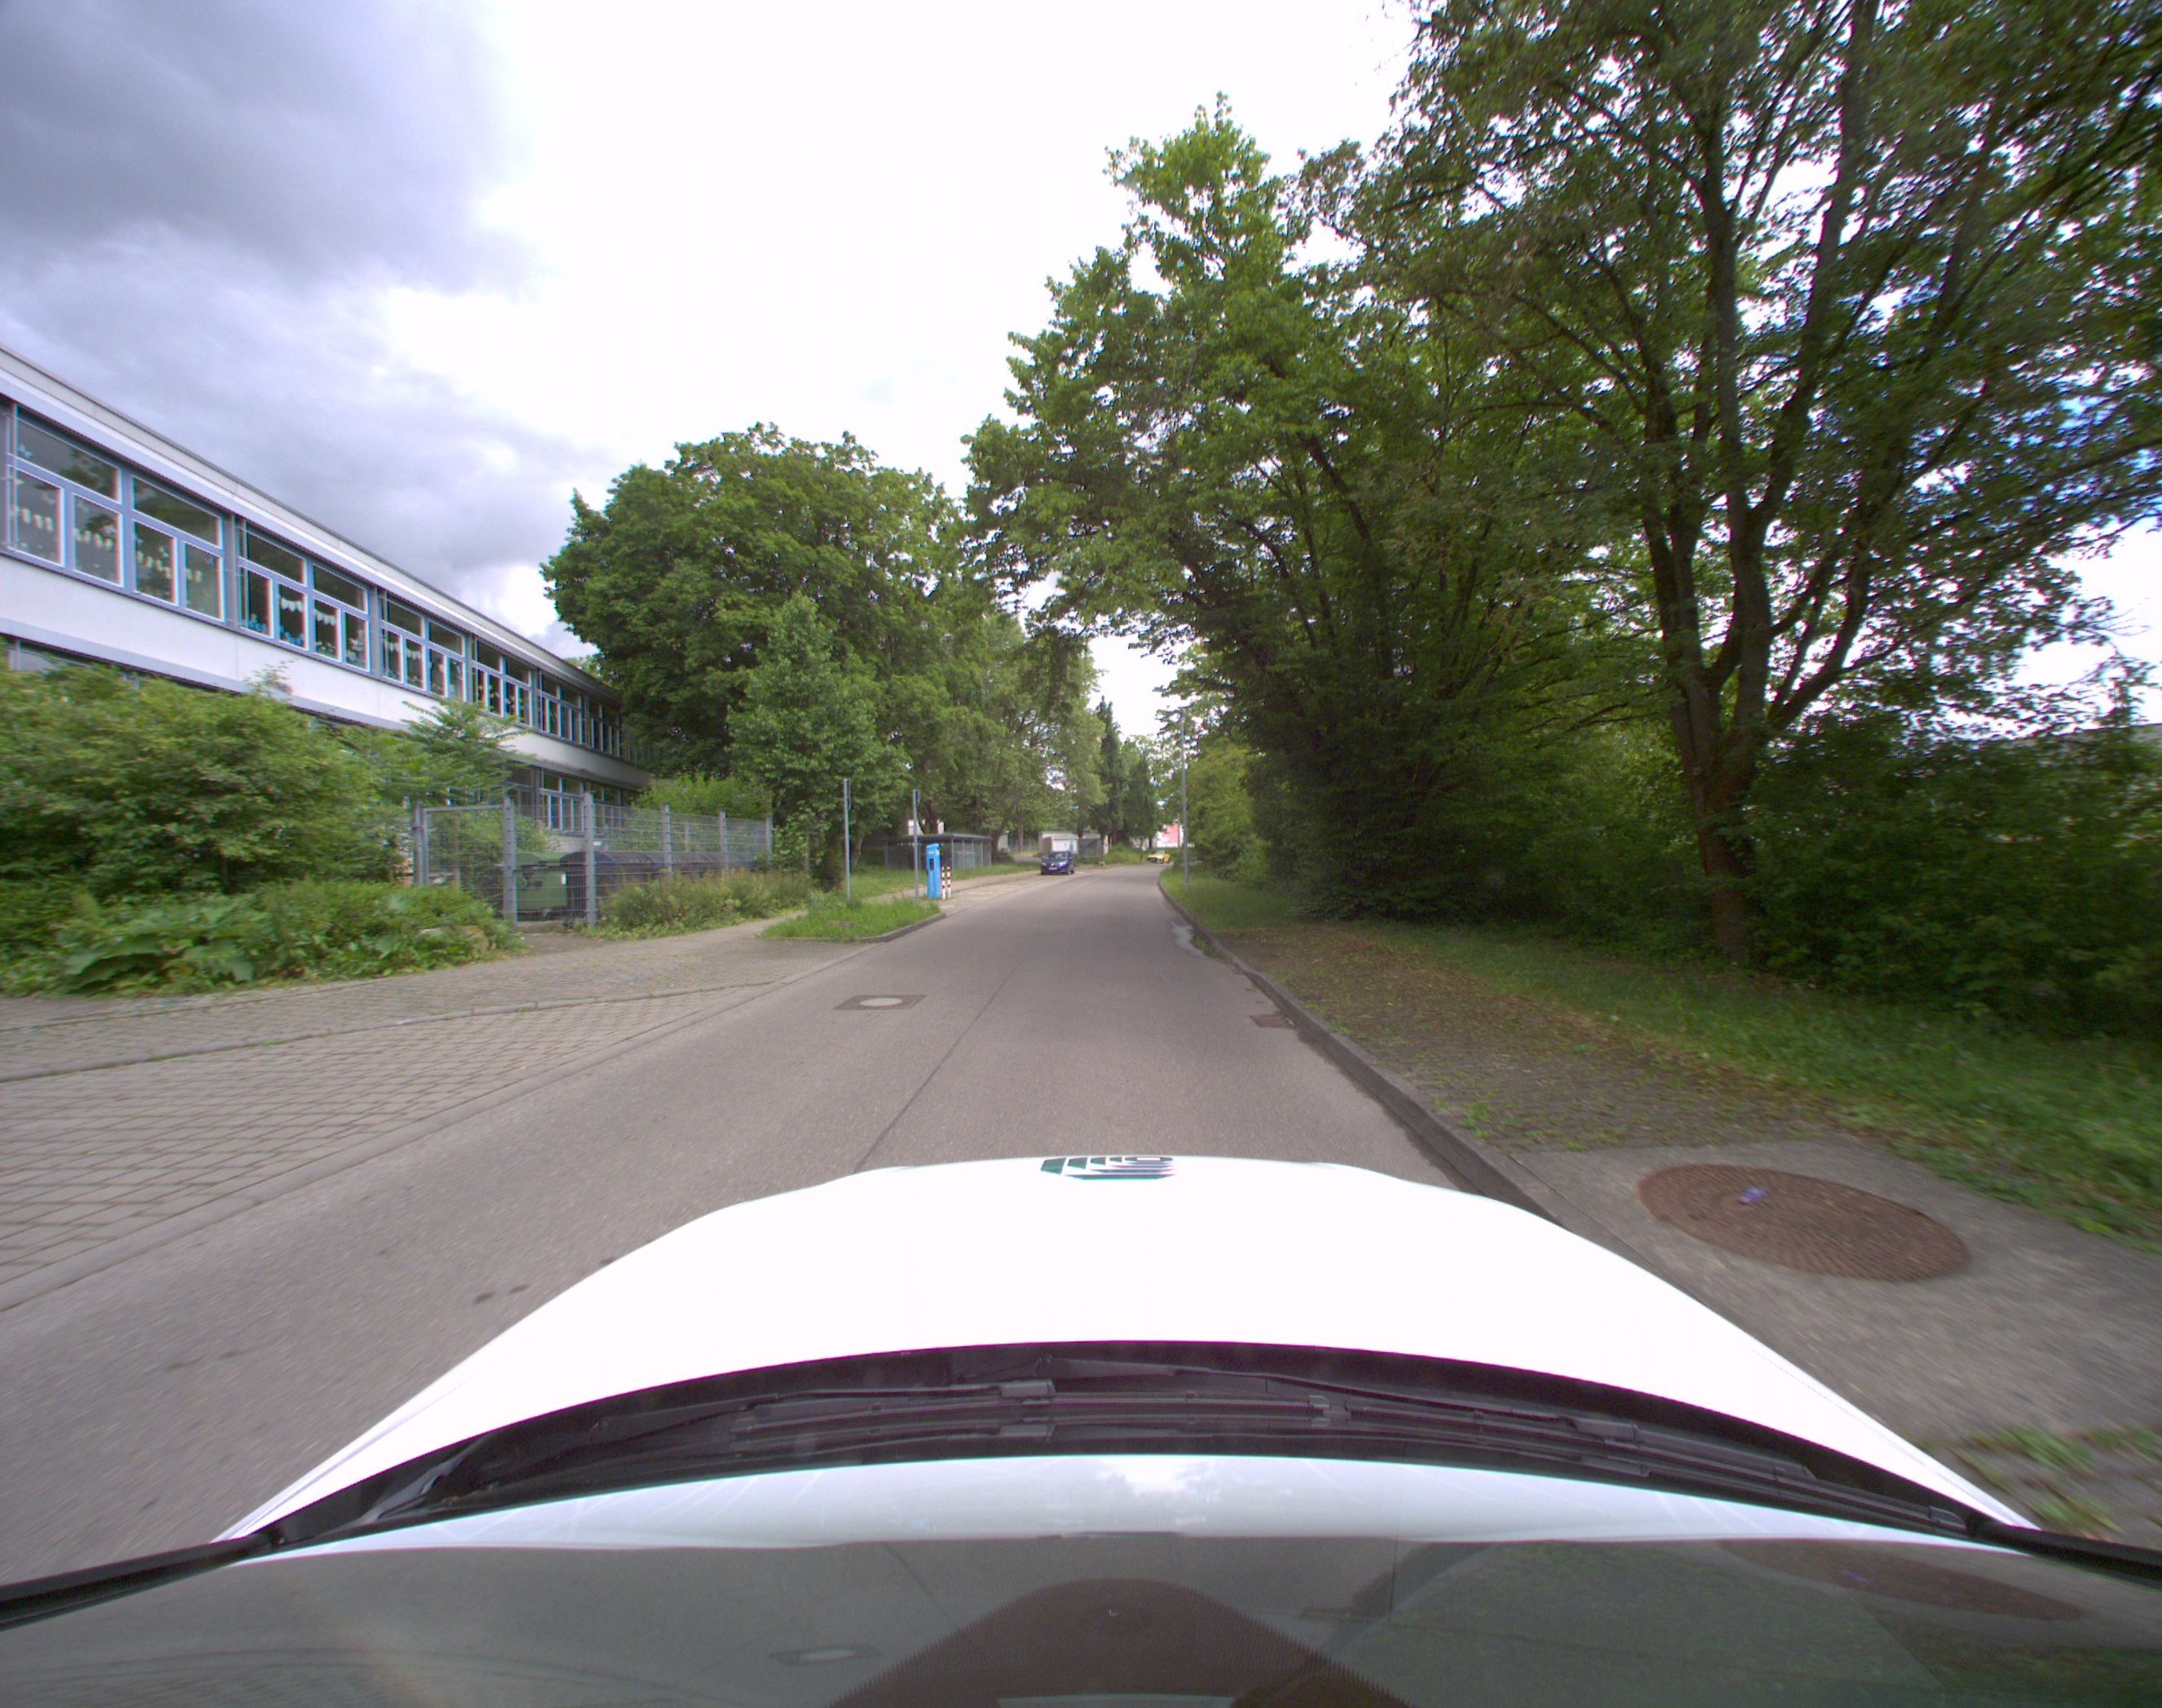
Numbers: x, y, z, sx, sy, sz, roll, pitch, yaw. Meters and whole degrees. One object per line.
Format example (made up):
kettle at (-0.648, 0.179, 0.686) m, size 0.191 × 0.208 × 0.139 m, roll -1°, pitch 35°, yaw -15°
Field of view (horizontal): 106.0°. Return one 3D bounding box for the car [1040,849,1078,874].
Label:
car at (-1.355, 0.456, 51.830) m, size 1.671 × 1.511 × 4.440 m, roll -1°, pitch 0°, yaw 7°

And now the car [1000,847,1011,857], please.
car at (-13.855, -0.331, 148.890) m, size 1.869 × 1.746 × 3.994 m, roll -2°, pitch 0°, yaw -4°

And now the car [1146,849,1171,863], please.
car at (8.463, 0.207, 88.816) m, size 1.686 × 1.403 × 4.295 m, roll 0°, pitch 0°, yaw 20°
